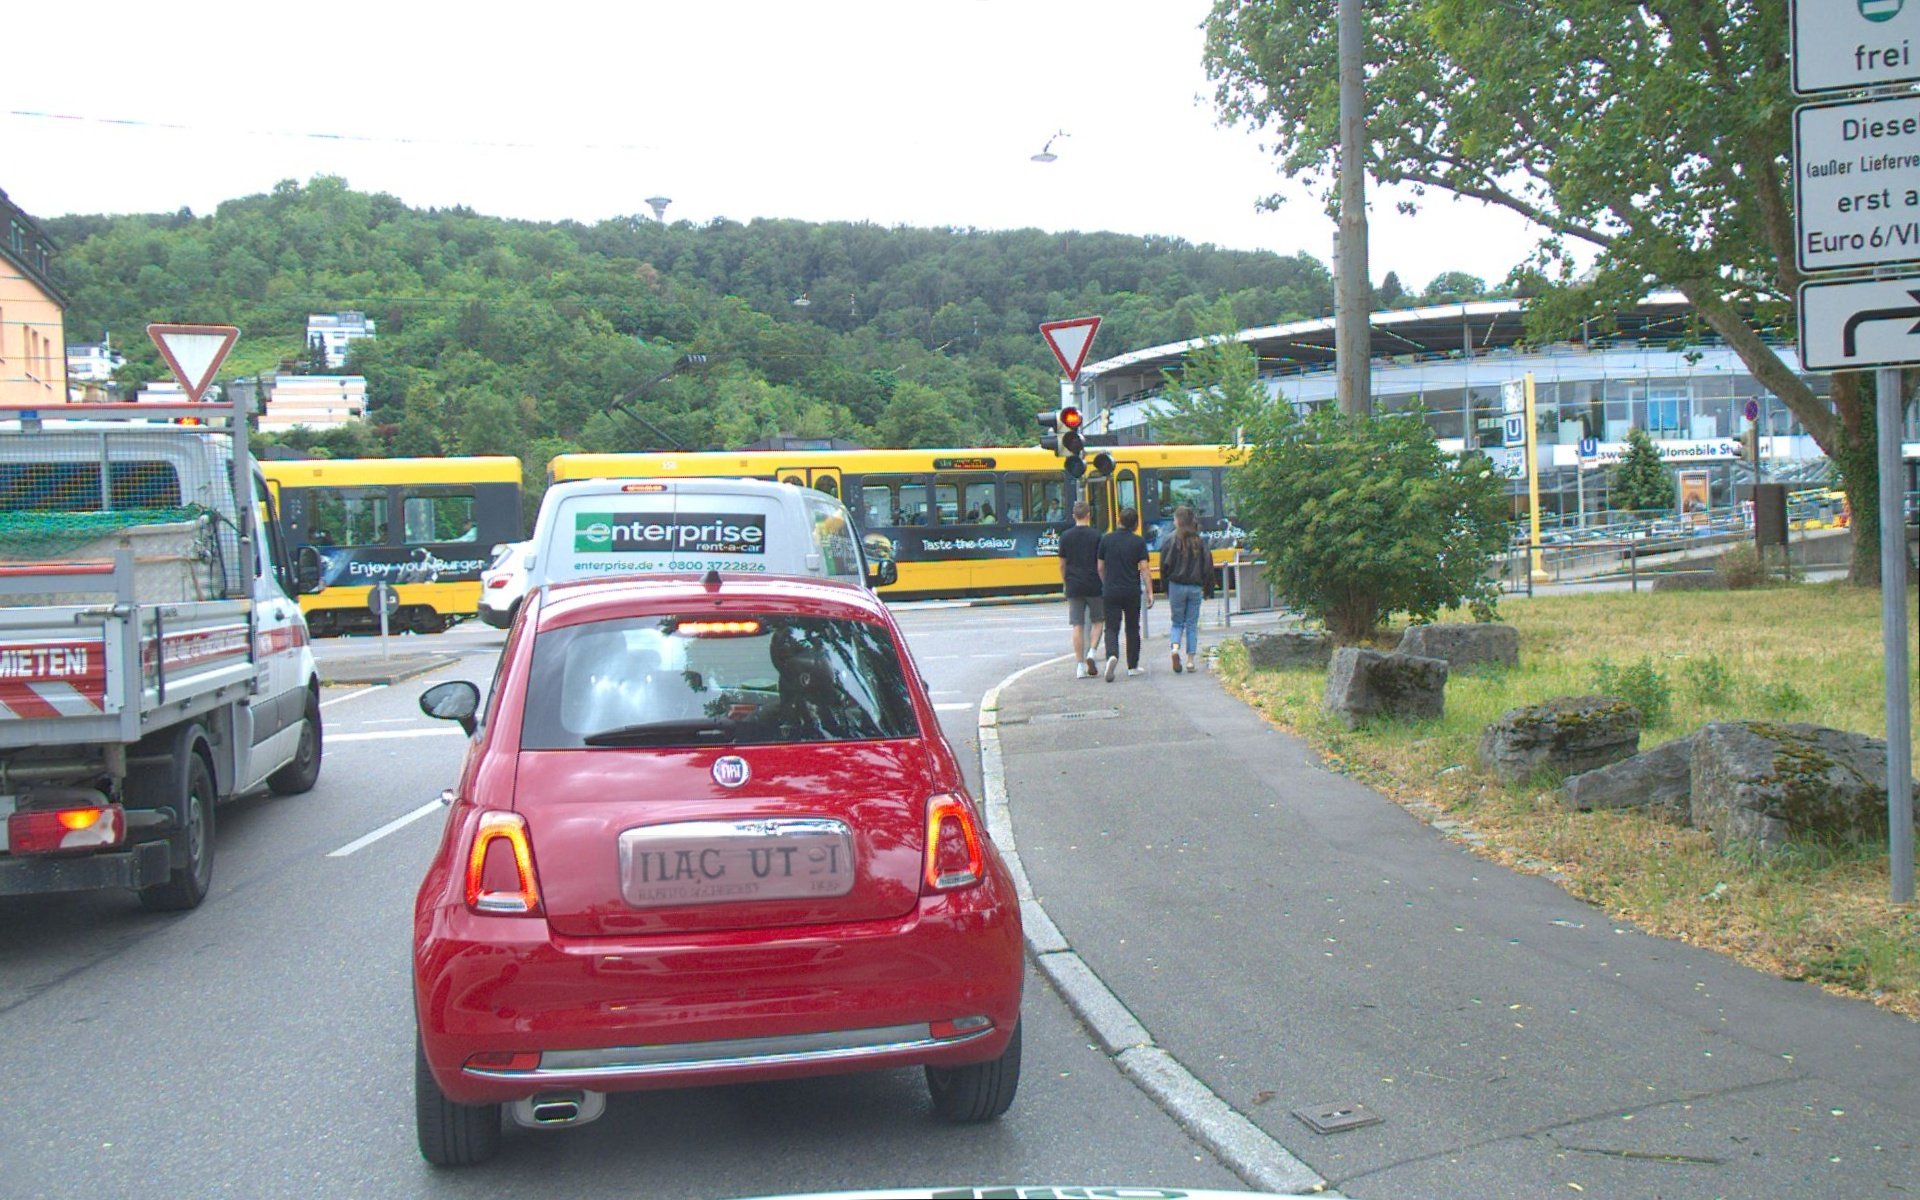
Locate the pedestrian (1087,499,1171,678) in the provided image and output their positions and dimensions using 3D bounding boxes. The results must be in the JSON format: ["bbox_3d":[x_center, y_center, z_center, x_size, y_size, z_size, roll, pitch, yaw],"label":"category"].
[{"bbox_3d":[1.725,-0.125,16.781,0.678,1.744,0.789,-2,1,13],"label":"pedestrian"}]

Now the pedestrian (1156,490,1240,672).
[{"bbox_3d":[2.410,-0.196,16.694,0.678,1.770,0.789,-2,1,15],"label":"pedestrian"}]

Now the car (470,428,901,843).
[{"bbox_3d":[-1.566,0.129,11.299,1.948,2.143,4.763,-3,1,1],"label":"car"}]

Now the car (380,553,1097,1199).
[{"bbox_3d":[-0.810,0.627,5.505,1.610,1.482,3.421,-2,1,-12],"label":"car"}]

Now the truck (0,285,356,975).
[{"bbox_3d":[-4.829,0.111,8.592,2.381,2.439,6.008,-3,1,-14],"label":"truck"}]

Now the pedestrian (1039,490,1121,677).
[{"bbox_3d":[1.271,-0.179,17.412,0.678,1.889,0.789,-2,1,11],"label":"pedestrian"}]

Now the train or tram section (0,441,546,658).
[{"bbox_3d":[-17.685,-0.845,31.411,18.813,3.729,3.262,-3,1,-18],"label":"train or tram section"}]

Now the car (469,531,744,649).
[{"bbox_3d":[-5.625,-0.189,26.269,4.051,1.611,1.793,-3,2,-19],"label":"car"}]

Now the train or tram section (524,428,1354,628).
[{"bbox_3d":[-0.028,-1.783,37.620,18.835,3.729,3.258,-3,2,-21],"label":"train or tram section"}]
